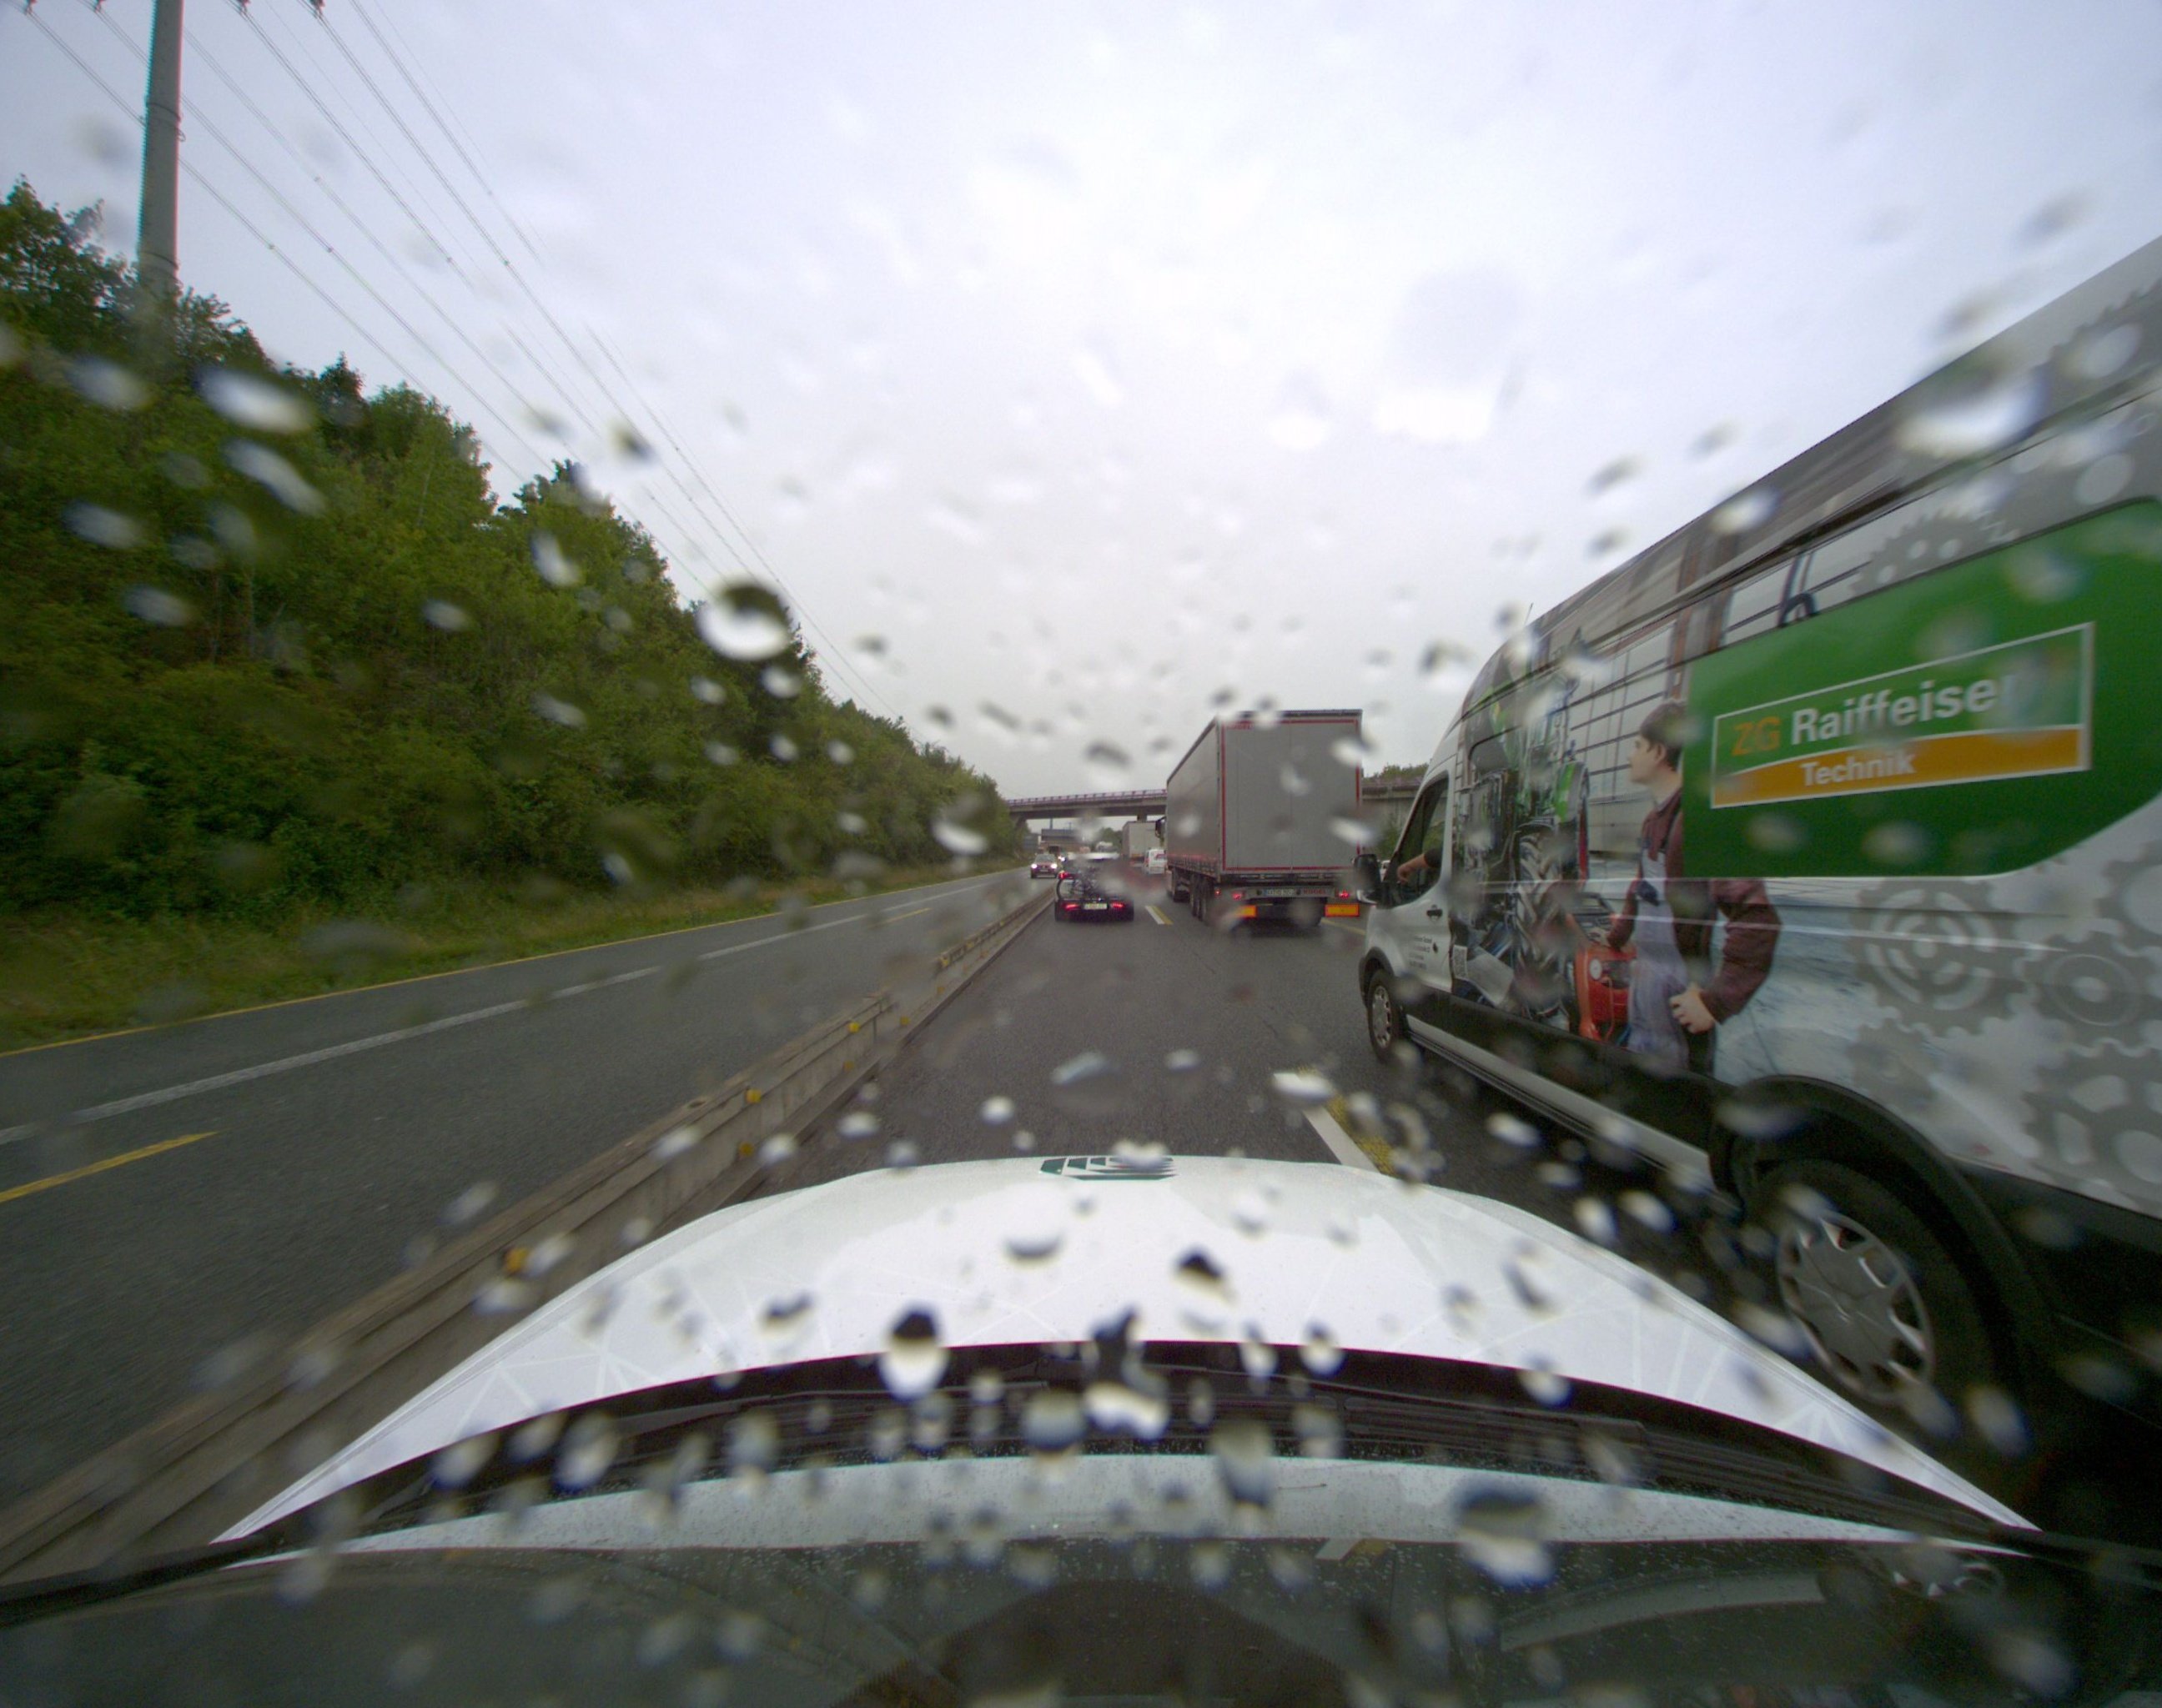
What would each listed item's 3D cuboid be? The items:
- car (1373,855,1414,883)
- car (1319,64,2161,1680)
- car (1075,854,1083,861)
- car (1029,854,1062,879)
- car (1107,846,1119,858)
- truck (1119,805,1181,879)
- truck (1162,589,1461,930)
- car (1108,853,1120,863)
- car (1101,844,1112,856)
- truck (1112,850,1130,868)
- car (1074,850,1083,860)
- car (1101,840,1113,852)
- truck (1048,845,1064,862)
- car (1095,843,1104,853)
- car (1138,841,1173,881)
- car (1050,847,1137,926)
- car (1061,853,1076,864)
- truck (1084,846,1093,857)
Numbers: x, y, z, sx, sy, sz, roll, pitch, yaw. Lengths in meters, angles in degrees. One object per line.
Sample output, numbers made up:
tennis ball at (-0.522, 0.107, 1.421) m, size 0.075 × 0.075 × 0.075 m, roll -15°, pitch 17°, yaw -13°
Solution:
car at (23.510, 1.115, 61.424) m, size 1.721 × 2.058 × 4.128 m, roll -1°, pitch 0°, yaw 4°
car at (2.998, 0.046, 3.999) m, size 2.135 × 2.676 × 6.121 m, roll -1°, pitch 0°, yaw 3°
car at (-0.378, 0.820, 178.852) m, size 1.680 × 1.409 × 3.929 m, roll -1°, pitch 0°, yaw 0°
car at (-2.226, 0.792, 52.463) m, size 1.788 × 1.555 × 4.001 m, roll -1°, pitch 0°, yaw 2°
car at (5.304, -0.287, 134.886) m, size 1.986 × 2.014 × 4.002 m, roll -1°, pitch 0°, yaw 2°
truck at (5.915, -0.852, 73.309) m, size 4.723 × 5.673 × 20.390 m, roll -1°, pitch 0°, yaw 3°
truck at (4.861, -1.513, 23.862) m, size 3.963 × 5.673 × 20.390 m, roll -1°, pitch 0°, yaw 3°
car at (4.860, 0.633, 120.641) m, size 1.632 × 1.497 × 3.667 m, roll -1°, pitch 0°, yaw 2°
car at (4.703, -0.730, 148.207) m, size 1.986 × 2.014 × 4.002 m, roll -1°, pitch 0°, yaw 2°
truck at (4.414, 0.547, 90.101) m, size 1.986 × 2.014 × 4.001 m, roll -1°, pitch 0°, yaw 2°
car at (-0.413, 0.231, 164.101) m, size 1.804 × 1.824 × 4.635 m, roll -1°, pitch 0°, yaw 0°
car at (5.204, -1.633, 161.070) m, size 2.231 × 2.307 × 4.574 m, roll -1°, pitch 0°, yaw 2°
truck at (-4.876, -0.055, 162.240) m, size 2.526 × 3.352 × 12.051 m, roll -1°, pitch 0°, yaw 1°
car at (3.974, -1.198, 173.832) m, size 1.986 × 2.126 × 4.528 m, roll -1°, pitch 0°, yaw 2°
car at (4.304, 0.417, 47.534) m, size 1.664 × 2.180 × 4.536 m, roll -1°, pitch 0°, yaw 1°
car at (0.382, 0.688, 19.353) m, size 1.803 × 1.637 × 4.639 m, roll -1°, pitch 0°, yaw 3°
car at (-1.730, 0.633, 115.872) m, size 1.803 × 1.633 × 4.121 m, roll -1°, pitch 0°, yaw 3°
truck at (2.296, -0.754, 246.882) m, size 2.526 × 3.352 × 12.051 m, roll -1°, pitch 0°, yaw 1°
